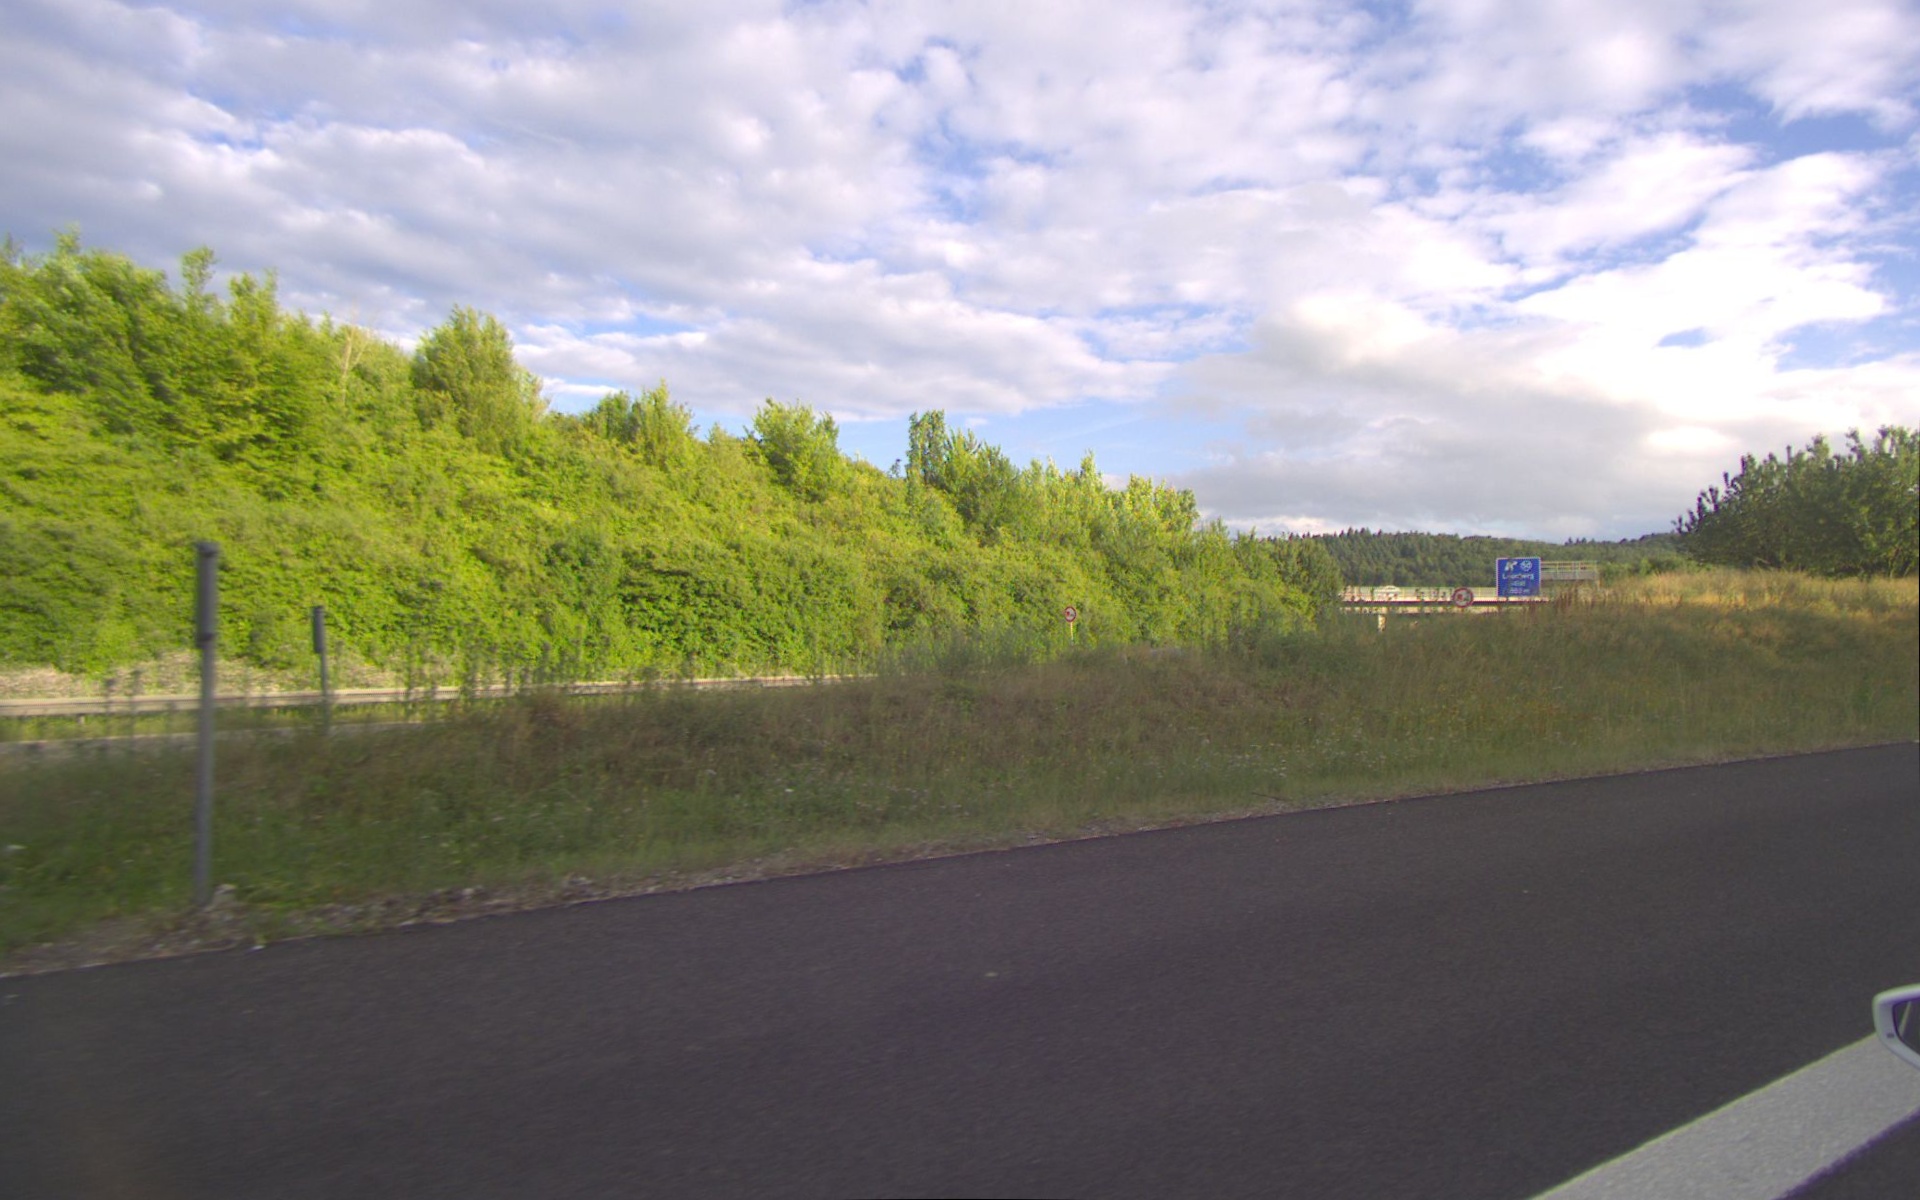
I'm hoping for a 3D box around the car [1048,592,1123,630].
[{"bbox_3d":[6.005,0.557,47.846,1.809,1.657,3.985,-1,-2,37],"label":"car"}]
